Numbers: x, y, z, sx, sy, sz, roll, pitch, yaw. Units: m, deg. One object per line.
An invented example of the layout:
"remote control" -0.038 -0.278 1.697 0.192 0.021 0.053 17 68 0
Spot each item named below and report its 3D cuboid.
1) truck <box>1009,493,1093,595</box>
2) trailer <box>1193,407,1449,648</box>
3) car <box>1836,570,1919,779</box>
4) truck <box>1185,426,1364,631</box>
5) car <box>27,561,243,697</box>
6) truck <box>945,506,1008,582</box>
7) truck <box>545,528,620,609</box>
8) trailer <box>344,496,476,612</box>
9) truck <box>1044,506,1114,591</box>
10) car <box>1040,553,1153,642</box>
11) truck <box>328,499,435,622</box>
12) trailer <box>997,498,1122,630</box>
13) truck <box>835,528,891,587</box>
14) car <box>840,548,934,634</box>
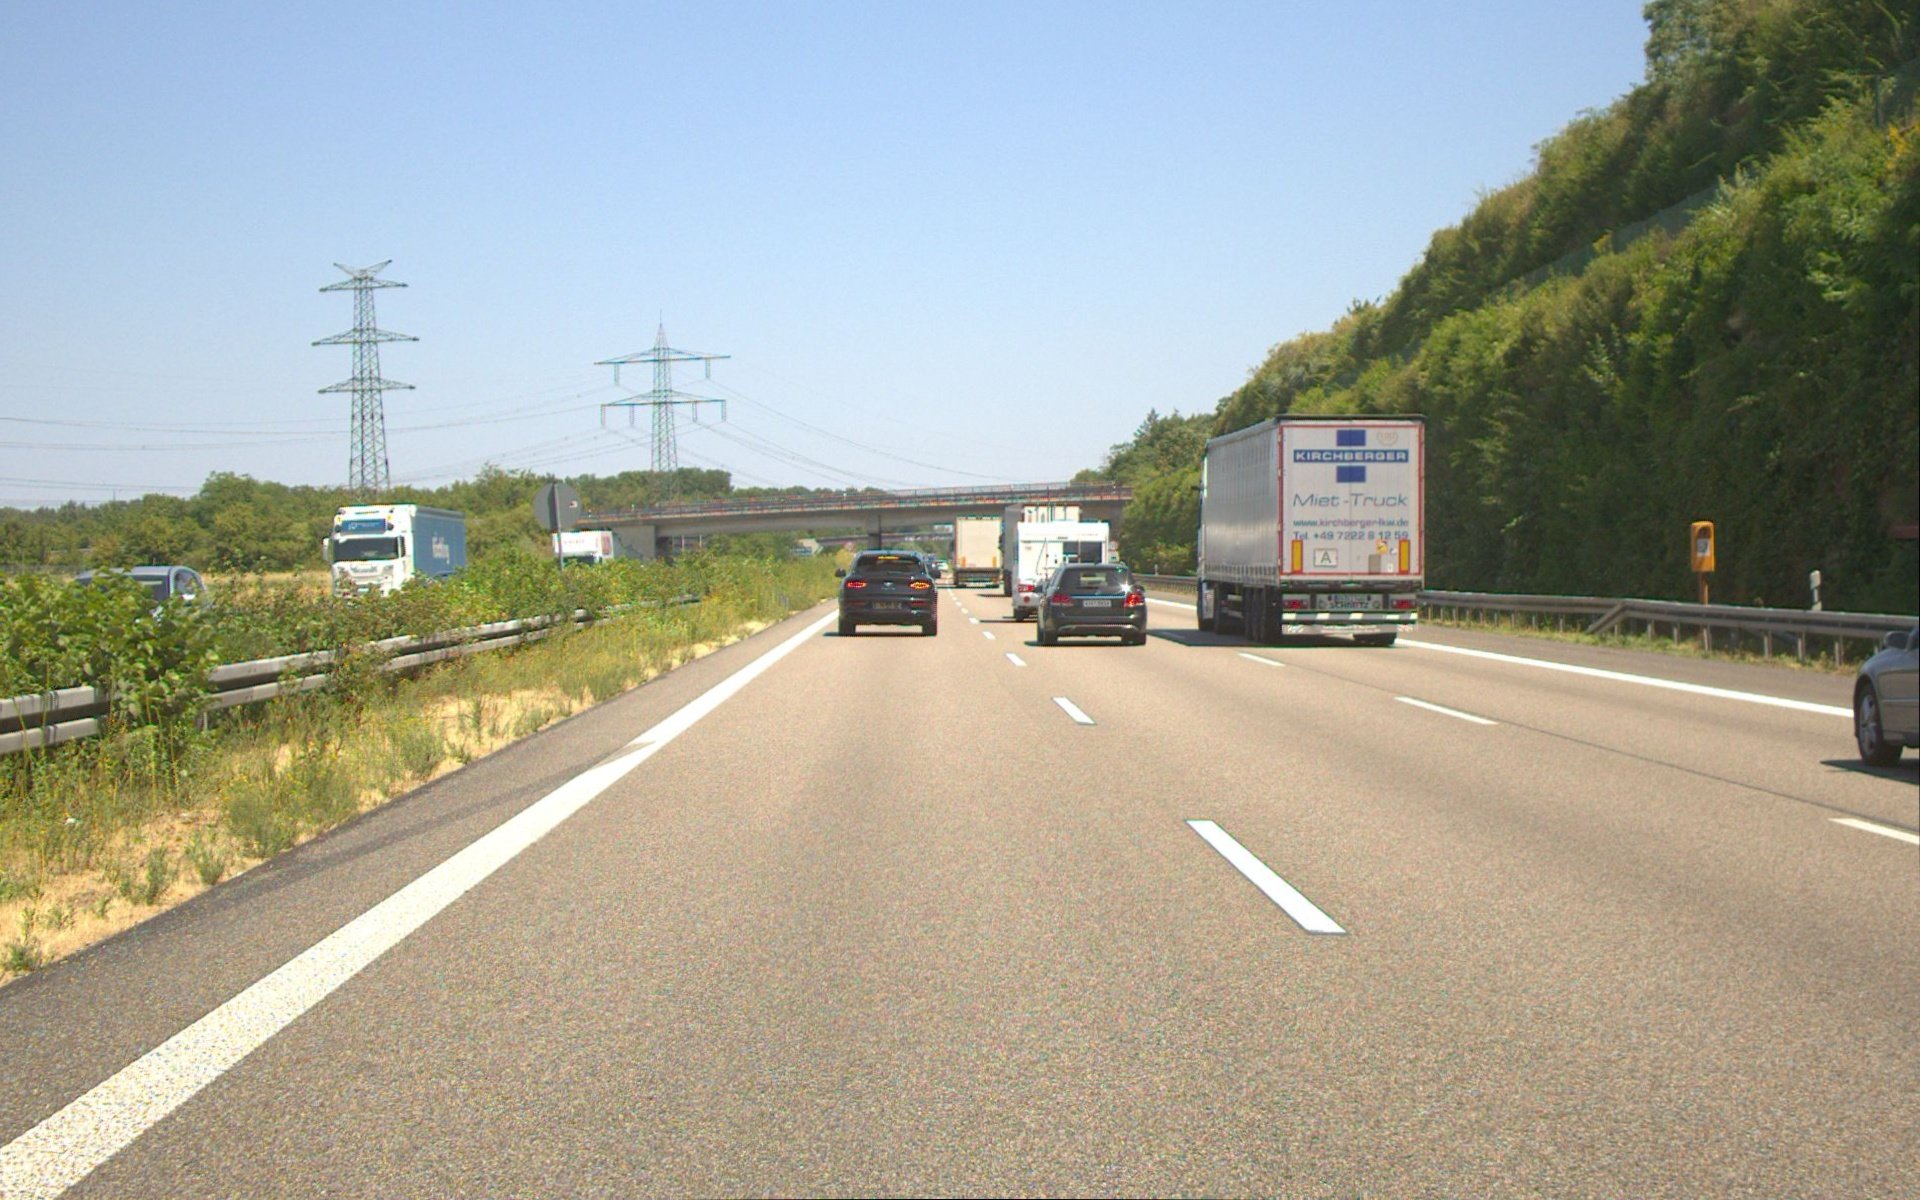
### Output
"truck" 3.931 -2.458 151.262 3.119 4.265 11.934 -1 1 -1
"trailer" 6.709 -1.348 66.175 3.183 4.107 13.432 -1 1 -1
"car" 7.447 0.519 23.450 1.684 1.423 4.454 0 1 -2
"truck" 6.589 -1.504 72.886 3.135 4.127 5.504 -1 1 -1
"car" -10.752 0.336 45.099 1.835 1.662 4.587 -1 1 -2
"truck" 0.912 -3.263 200.829 3.409 4.265 10.608 -1 1 -1
"truck" -20.081 -1.704 183.384 2.873 4.162 10.569 -1 1 -1
"trailer" -19.853 -1.694 124.934 2.693 3.924 13.910 -1 1 -1
"truck" 6.209 -2.708 180.853 3.119 4.265 10.168 -1 1 -1
"car" 2.444 -0.071 62.364 1.830 1.520 4.000 -1 1 0
"truck" -19.673 -1.359 117.242 2.696 4.054 5.802 -1 1 -1
"trailer" 2.502 -0.963 89.528 2.610 3.202 9.953 -1 1 -2
"truck" -7.049 -3.076 249.553 3.961 4.100 9.953 -1 1 -2
"car" -1.503 -0.199 70.305 1.830 1.665 4.000 -1 1 -1
